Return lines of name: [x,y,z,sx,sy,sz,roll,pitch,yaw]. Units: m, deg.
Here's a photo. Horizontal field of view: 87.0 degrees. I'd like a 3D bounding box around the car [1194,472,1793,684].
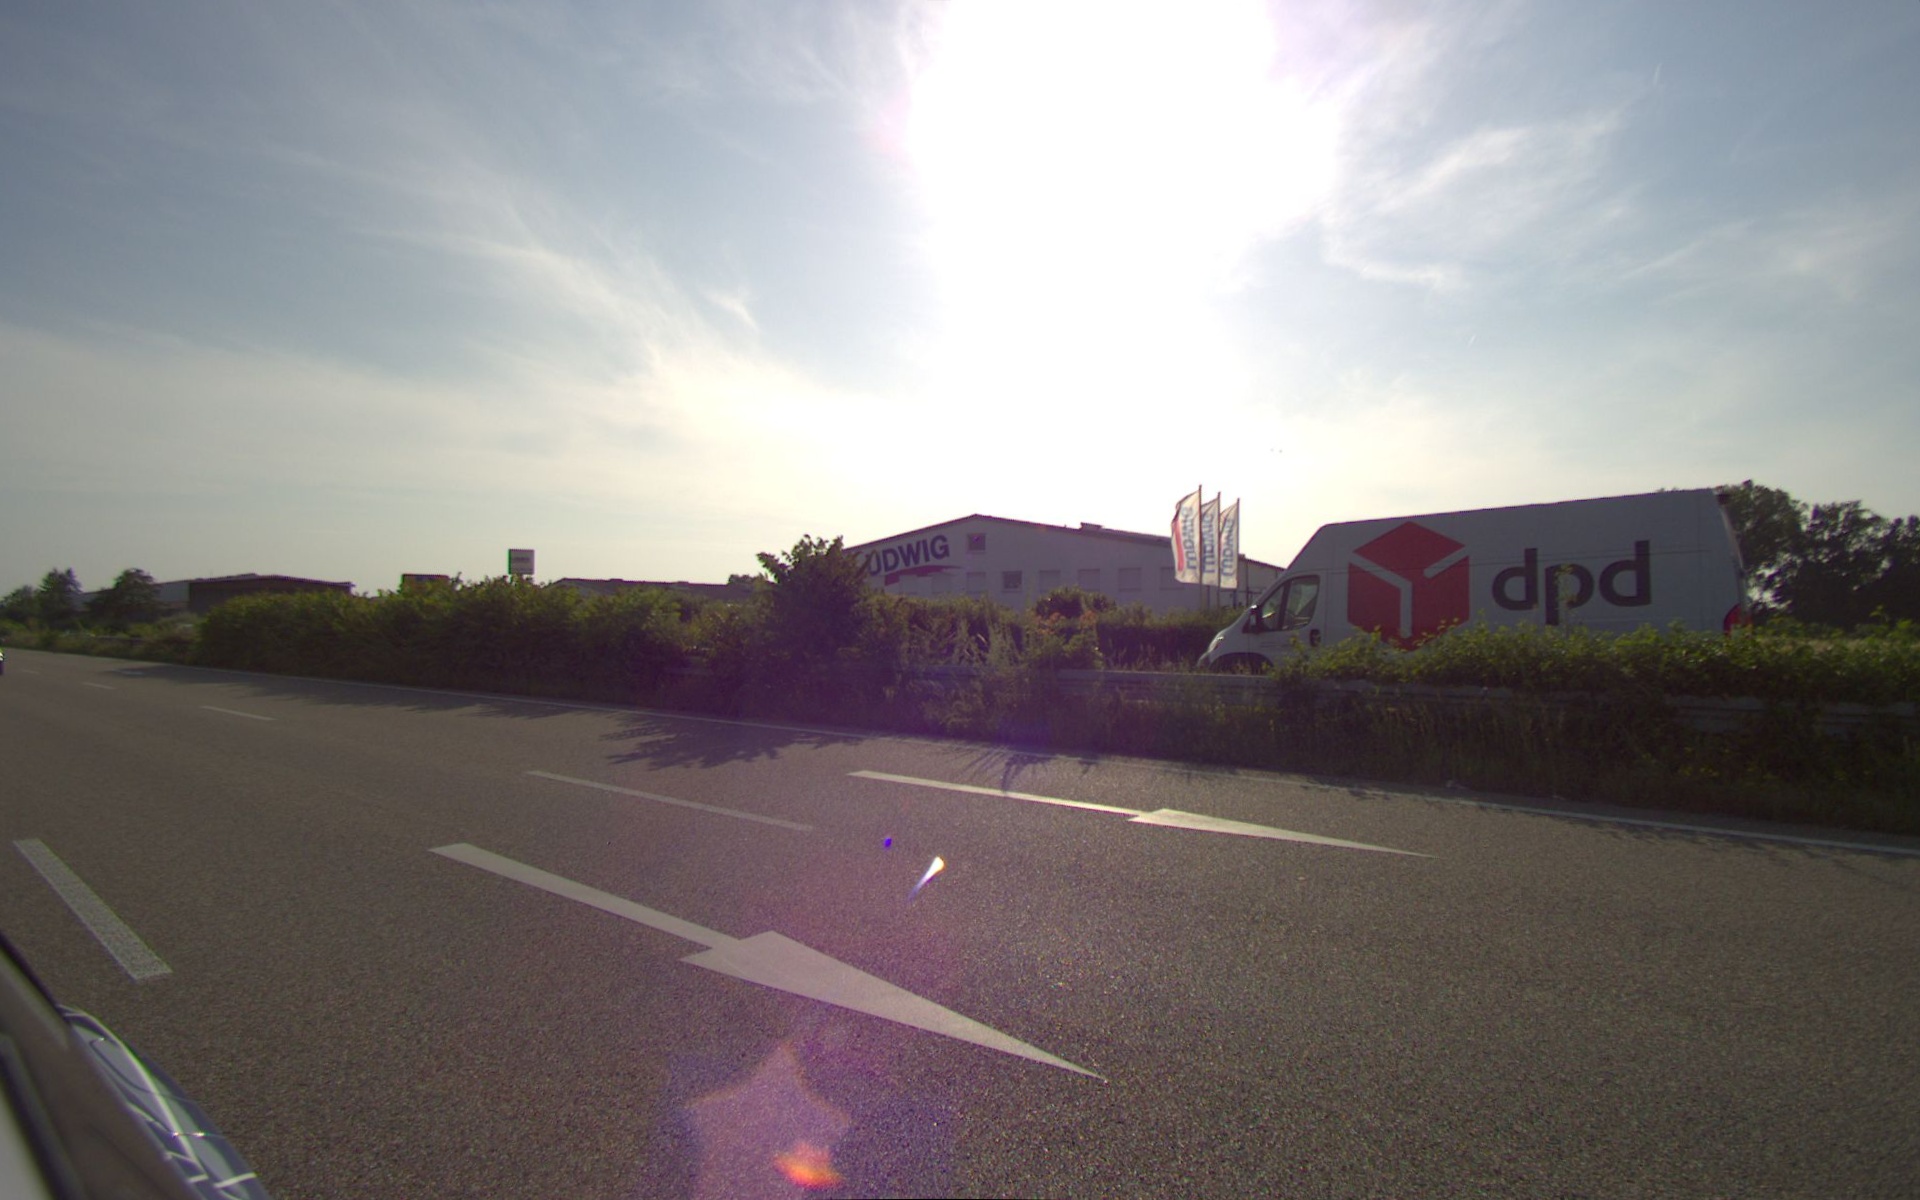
car: [6.304,-0.196,12.671,6.320,2.050,2.139,-1,0,41]
